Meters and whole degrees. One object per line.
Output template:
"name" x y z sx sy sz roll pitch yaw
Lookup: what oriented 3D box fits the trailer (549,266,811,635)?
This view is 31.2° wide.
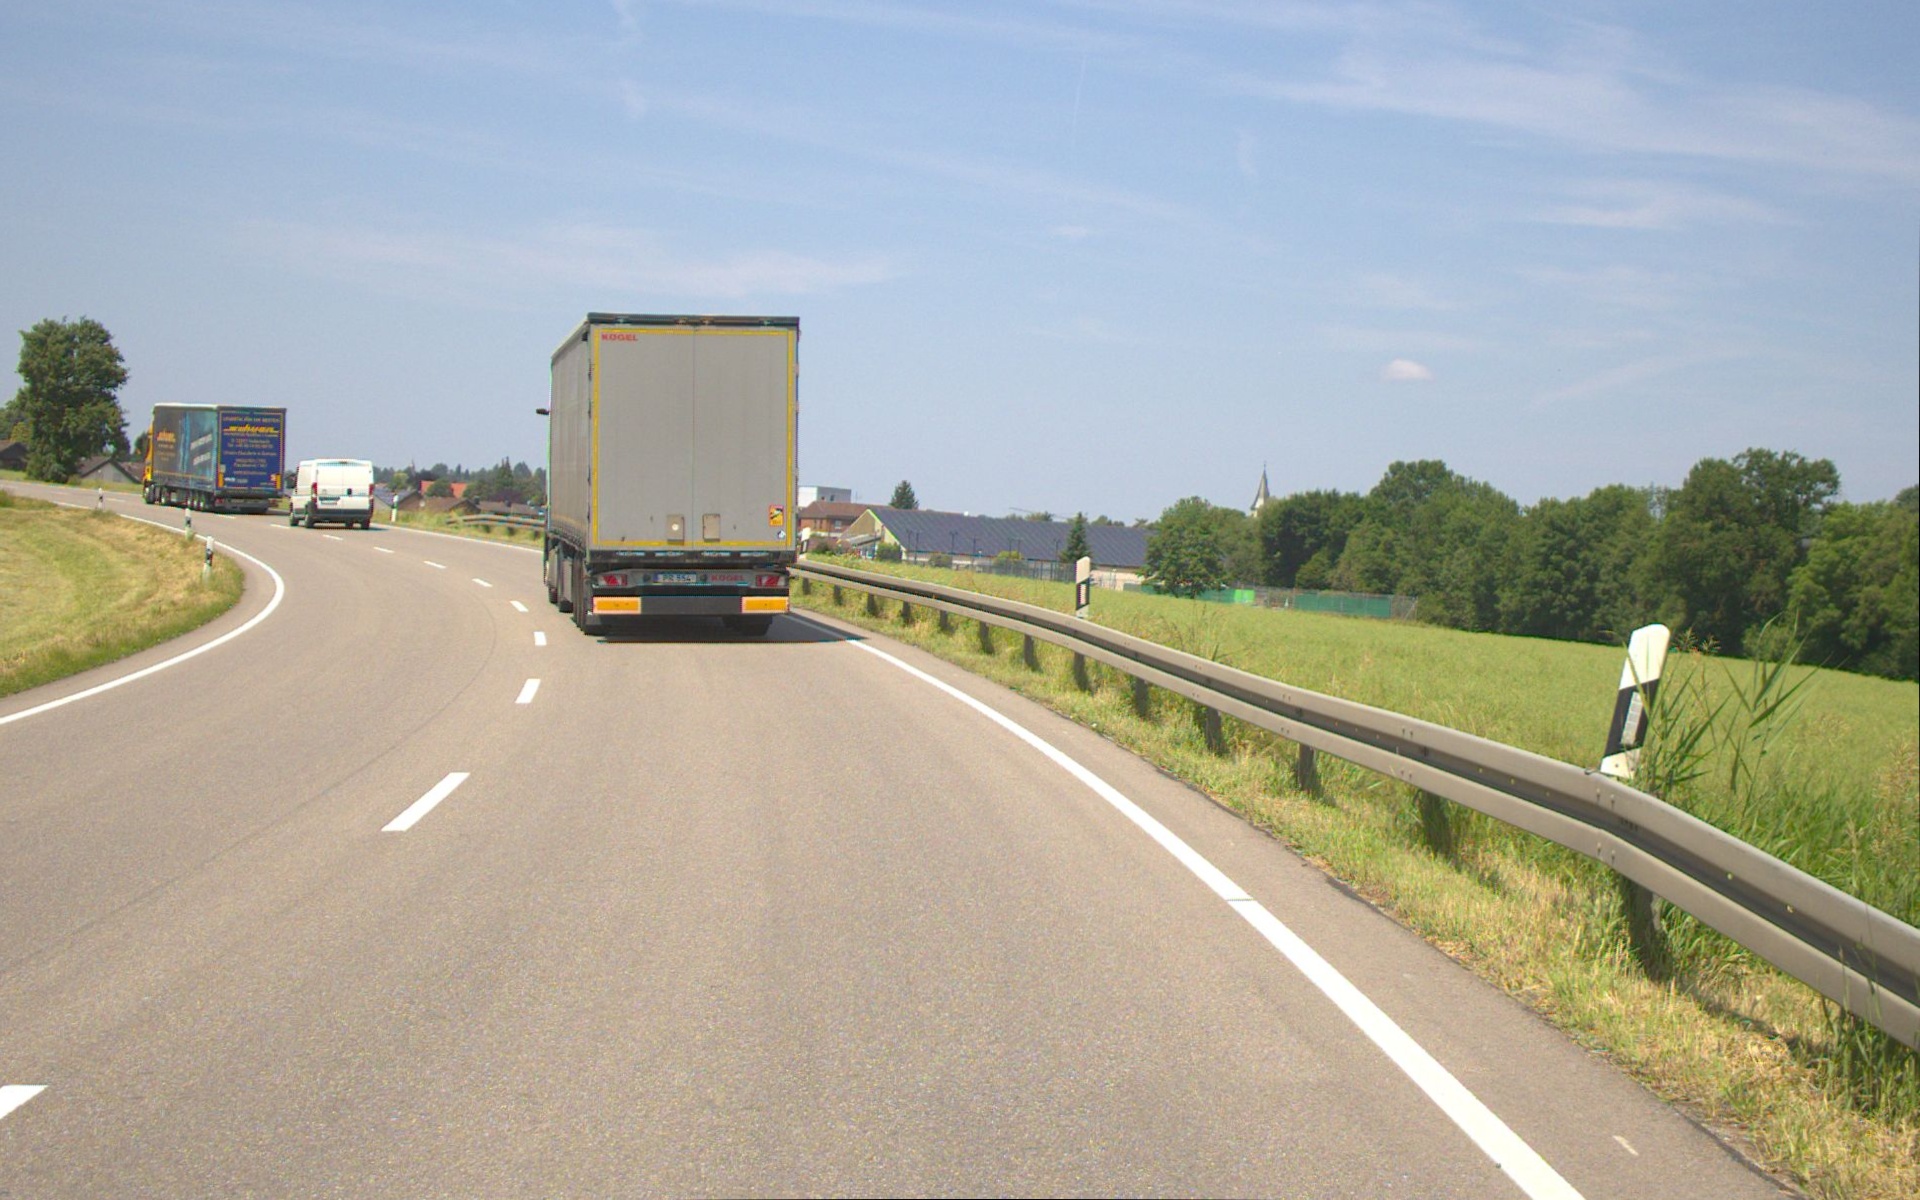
"trailer" -4.144 -1.946 47.833 2.866 4.385 13.496 0 1 -8

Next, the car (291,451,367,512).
"car" -20.545 -3.828 111.887 1.725 1.866 4.001 1 0 -20

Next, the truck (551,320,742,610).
"truck" -5.075 -2.120 54.895 2.859 4.385 5.072 0 2 -7

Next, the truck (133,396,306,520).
"truck" -29.245 -5.565 134.889 3.548 4.377 18.128 2 1 -22
